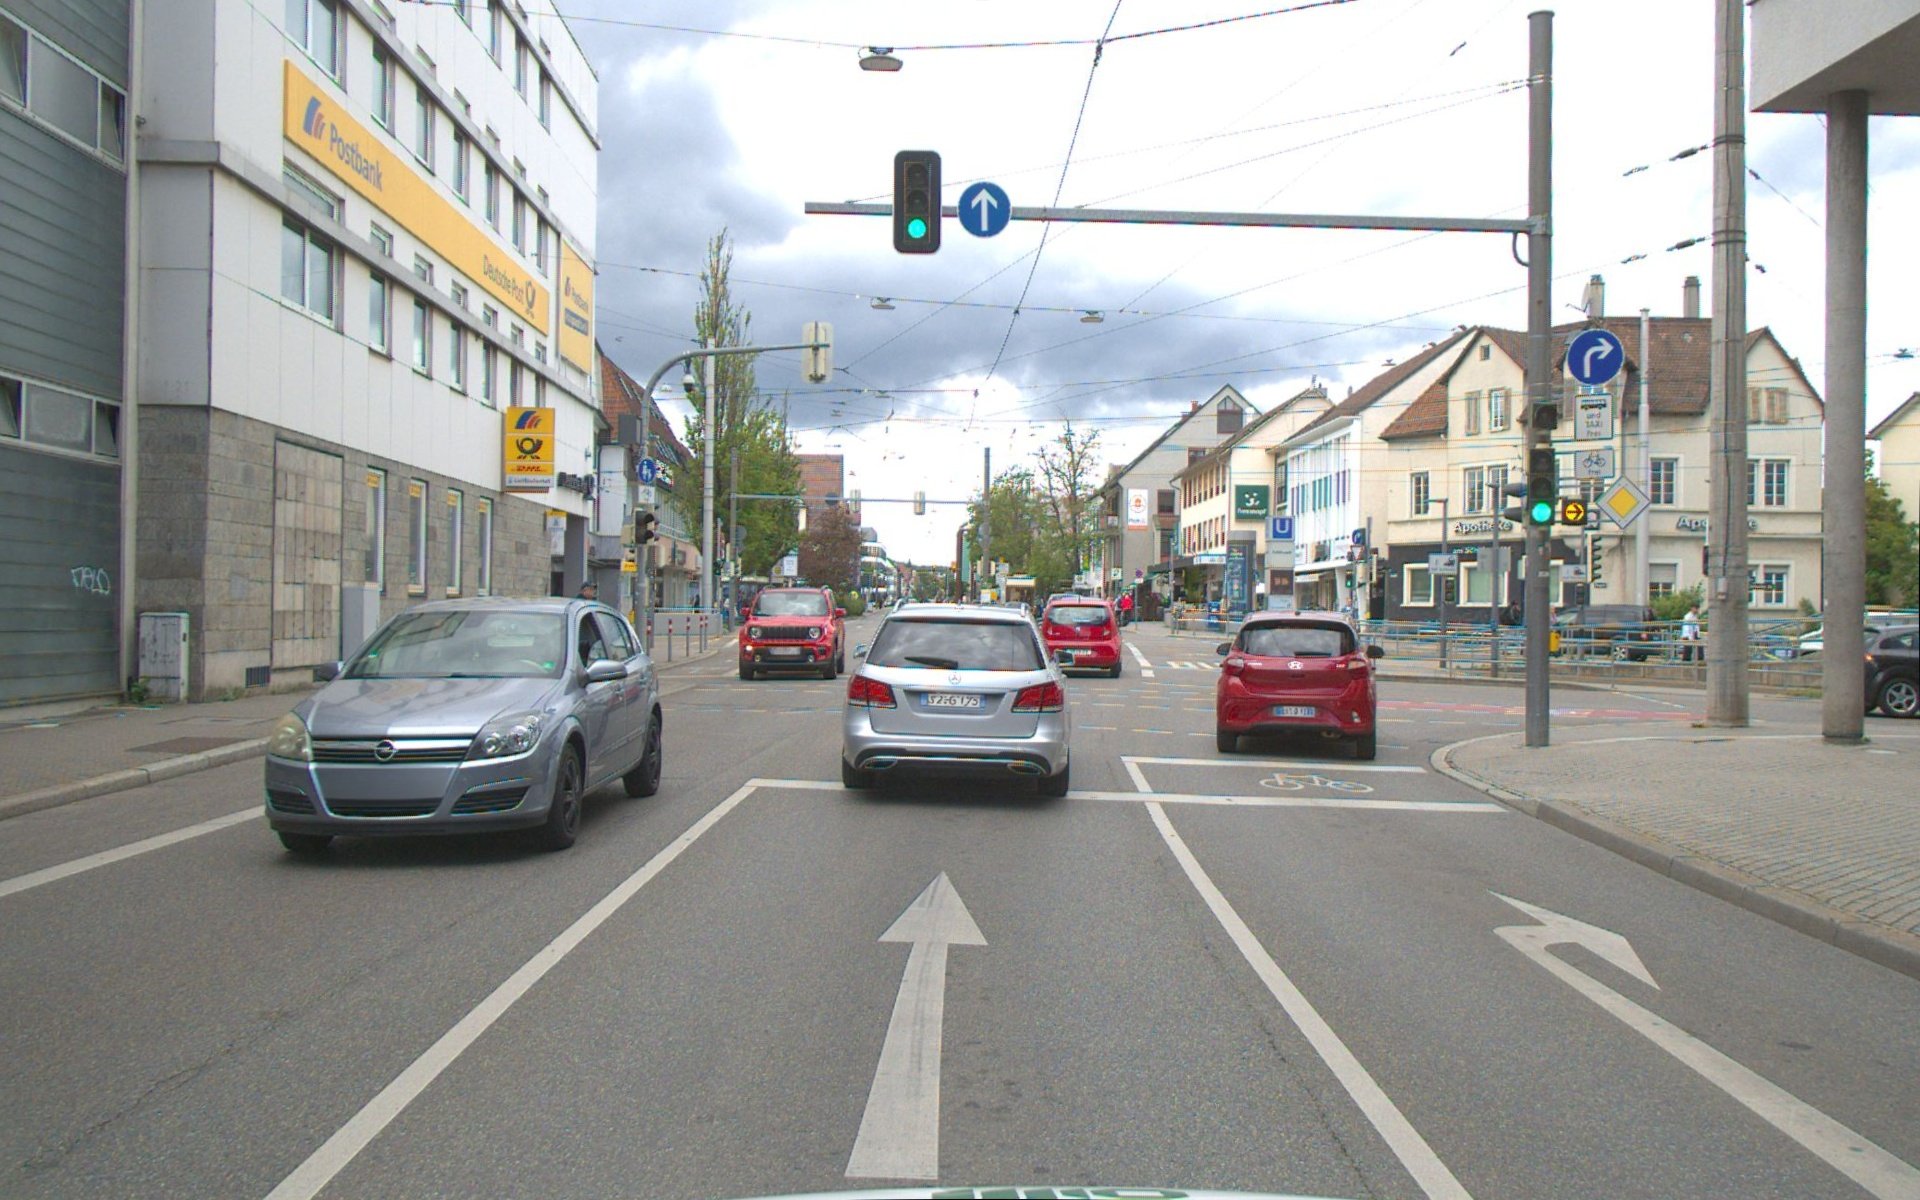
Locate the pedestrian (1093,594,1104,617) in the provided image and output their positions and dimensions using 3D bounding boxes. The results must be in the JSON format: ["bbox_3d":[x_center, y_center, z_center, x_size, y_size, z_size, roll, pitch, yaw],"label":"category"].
[{"bbox_3d":[8.725,0.345,104.272,0.567,1.460,0.650,2,-1,-7],"label":"pedestrian"}]

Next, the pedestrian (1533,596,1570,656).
[{"bbox_3d":[17.787,0.775,49.707,0.778,1.748,0.643,2,0,-30],"label":"pedestrian"}]

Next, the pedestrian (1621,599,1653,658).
[{"bbox_3d":[20.328,0.851,49.681,0.772,1.748,0.648,2,0,29],"label":"pedestrian"}]

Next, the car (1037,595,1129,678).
[{"bbox_3d":[2.520,0.683,33.164,1.697,1.534,4.003,1,0,6],"label":"car"}]

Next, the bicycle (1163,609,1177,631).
[{"bbox_3d":[10.757,1.008,84.714,0.439,1.110,2.149,0,0,-1],"label":"bicycle"}]

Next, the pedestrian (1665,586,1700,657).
[{"bbox_3d":[17.990,0.523,41.203,0.637,1.748,0.701,0,0,39],"label":"pedestrian"}]

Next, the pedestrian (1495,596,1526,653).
[{"bbox_3d":[16.924,0.756,50.850,0.690,1.748,0.647,0,0,-15],"label":"pedestrian"}]

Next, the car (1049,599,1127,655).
[{"bbox_3d":[3.626,0.734,47.492,1.700,1.534,3.997,0,0,-4],"label":"car"}]

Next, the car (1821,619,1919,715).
[{"bbox_3d":[15.959,1.056,26.053,3.902,1.435,1.741,0,0,10],"label":"car"}]

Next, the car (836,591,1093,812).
[{"bbox_3d":[0.010,0.727,14.097,1.808,1.534,4.170,2,0,-1],"label":"car"}]

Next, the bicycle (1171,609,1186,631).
[{"bbox_3d":[11.197,1.004,84.726,0.439,1.127,2.149,0,0,-1],"label":"bicycle"}]

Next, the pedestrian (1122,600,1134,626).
[{"bbox_3d":[9.707,0.733,95.392,0.566,1.495,0.650,2,-1,-4],"label":"pedestrian"}]

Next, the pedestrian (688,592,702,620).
[{"bbox_3d":[-15.634,0.359,97.584,0.692,1.634,0.576,1,0,-22],"label":"pedestrian"}]

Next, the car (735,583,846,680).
[{"bbox_3d":[-3.146,0.555,31.373,1.763,1.724,3.896,0,0,-1],"label":"car"}]

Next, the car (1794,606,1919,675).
[{"bbox_3d":[27.807,1.225,49.467,1.972,1.952,4.713,3,-1,-40],"label":"car"}]

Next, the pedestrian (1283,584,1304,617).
[{"bbox_3d":[16.516,0.009,81.975,0.631,1.619,0.892,2,-1,-21],"label":"pedestrian"}]

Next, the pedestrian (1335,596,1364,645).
[{"bbox_3d":[13.894,0.725,59.016,0.824,1.748,0.726,0,0,-5],"label":"pedestrian"}]

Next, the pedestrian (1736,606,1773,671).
[{"bbox_3d":[21.836,1.065,45.436,0.783,1.748,0.639,2,0,-45],"label":"pedestrian"}]

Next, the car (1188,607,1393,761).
[{"bbox_3d":[3.620,0.858,18.725,1.663,1.477,4.001,2,0,3],"label":"car"}]

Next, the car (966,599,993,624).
[{"bbox_3d":[1.626,0.937,138.410,1.954,2.049,3.997,1,0,-3],"label":"car"}]

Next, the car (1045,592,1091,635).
[{"bbox_3d":[4.608,0.554,70.913,1.699,1.790,4.000,0,0,0],"label":"car"}]

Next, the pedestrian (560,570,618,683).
[{"bbox_3d":[-5.924,0.415,26.446,0.634,1.748,0.783,2,0,5],"label":"pedestrian"}]

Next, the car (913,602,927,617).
[{"bbox_3d":[-5.765,1.385,237.858,1.954,2.049,3.998,1,0,-3],"label":"car"}]

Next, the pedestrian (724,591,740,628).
[{"bbox_3d":[-10.315,0.432,74.880,0.623,1.634,0.702,1,0,-14],"label":"pedestrian"}]

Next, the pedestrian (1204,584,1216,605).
[{"bbox_3d":[15.177,-0.321,100.409,0.522,1.240,0.579,2,-1,-4],"label":"pedestrian"}]

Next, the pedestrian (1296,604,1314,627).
[{"bbox_3d":[17.915,0.799,85.870,0.722,1.184,0.642,2,-1,-4],"label":"pedestrian"}]

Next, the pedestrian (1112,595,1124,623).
[{"bbox_3d":[9.439,0.542,98.751,0.567,1.695,0.650,2,-1,-6],"label":"pedestrian"}]

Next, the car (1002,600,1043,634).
[{"bbox_3d":[3.373,0.917,90.429,1.953,1.780,3.998,1,0,-2],"label":"car"}]

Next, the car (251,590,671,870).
[{"bbox_3d":[-3.019,0.695,10.832,1.623,1.492,3.919,0,0,-1],"label":"car"}]

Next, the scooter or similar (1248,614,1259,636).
[{"bbox_3d":[13.757,1.161,77.578,0.266,1.019,1.028,0,0,-5],"label":"scooter or similar"}]

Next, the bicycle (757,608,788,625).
[{"bbox_3d":[-11.940,1.069,105.416,1.903,1.047,0.529,2,-1,-11],"label":"bicycle"}]

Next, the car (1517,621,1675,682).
[{"bbox_3d":[21.337,1.719,55.604,4.615,1.853,1.852,1,-1,43],"label":"car"}]
